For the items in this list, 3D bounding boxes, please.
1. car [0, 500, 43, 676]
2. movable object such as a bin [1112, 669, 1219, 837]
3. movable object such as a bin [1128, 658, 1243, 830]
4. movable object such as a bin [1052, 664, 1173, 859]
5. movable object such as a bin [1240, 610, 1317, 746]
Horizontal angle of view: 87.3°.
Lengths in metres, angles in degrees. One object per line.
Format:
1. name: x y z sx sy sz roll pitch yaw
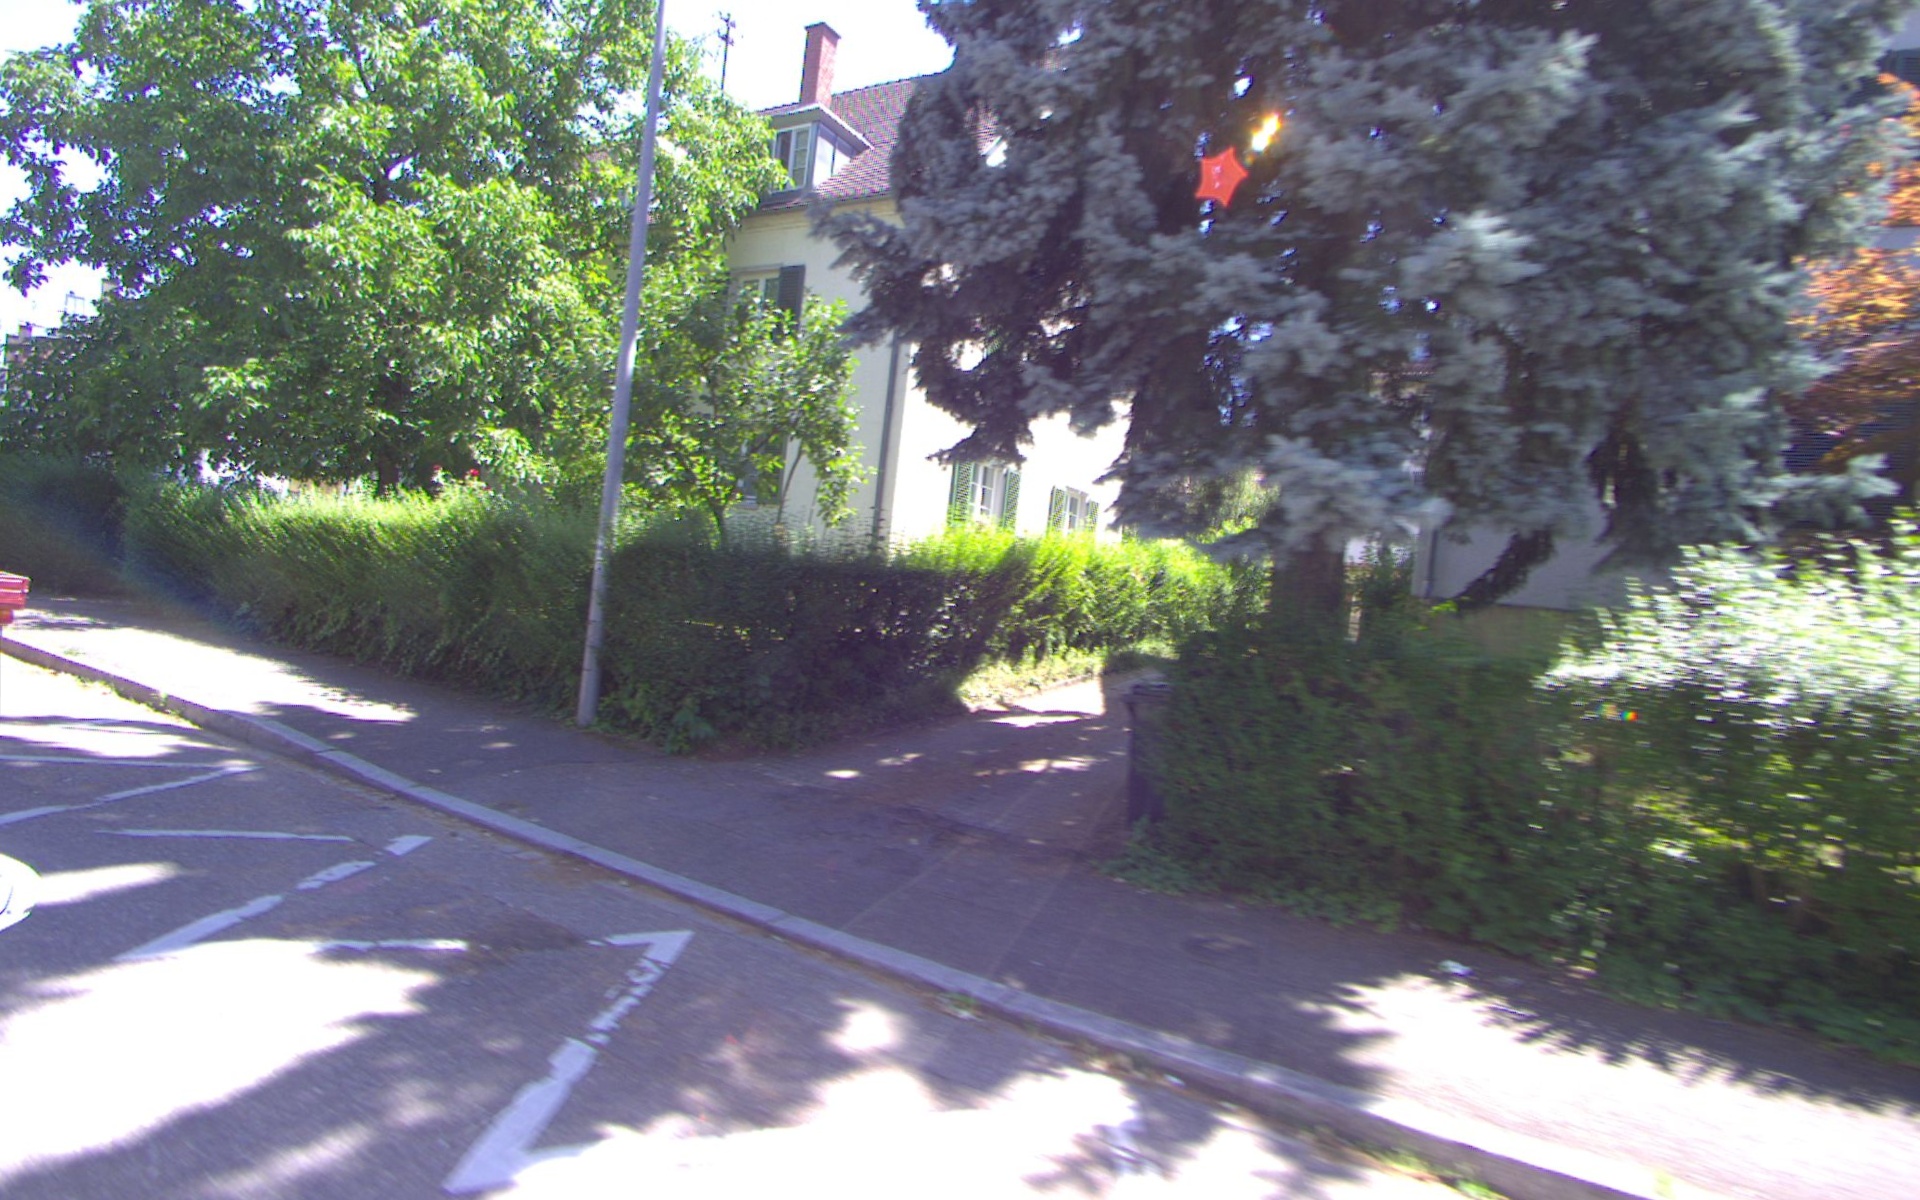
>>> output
1. car: -9.627 -0.266 9.095 2.666 1.513 1.262 6 -2 34
2. movable object such as a bin: 1.362 0.995 6.646 0.464 1.003 0.425 7 -1 32
3. movable object such as a bin: 1.590 0.997 7.082 0.549 1.094 0.449 7 -1 32
4. movable object such as a bin: 0.870 0.898 5.712 0.442 1.003 0.405 7 -1 32
5. movable object such as a bin: 3.185 0.765 10.102 0.620 1.263 0.545 5 4 15
